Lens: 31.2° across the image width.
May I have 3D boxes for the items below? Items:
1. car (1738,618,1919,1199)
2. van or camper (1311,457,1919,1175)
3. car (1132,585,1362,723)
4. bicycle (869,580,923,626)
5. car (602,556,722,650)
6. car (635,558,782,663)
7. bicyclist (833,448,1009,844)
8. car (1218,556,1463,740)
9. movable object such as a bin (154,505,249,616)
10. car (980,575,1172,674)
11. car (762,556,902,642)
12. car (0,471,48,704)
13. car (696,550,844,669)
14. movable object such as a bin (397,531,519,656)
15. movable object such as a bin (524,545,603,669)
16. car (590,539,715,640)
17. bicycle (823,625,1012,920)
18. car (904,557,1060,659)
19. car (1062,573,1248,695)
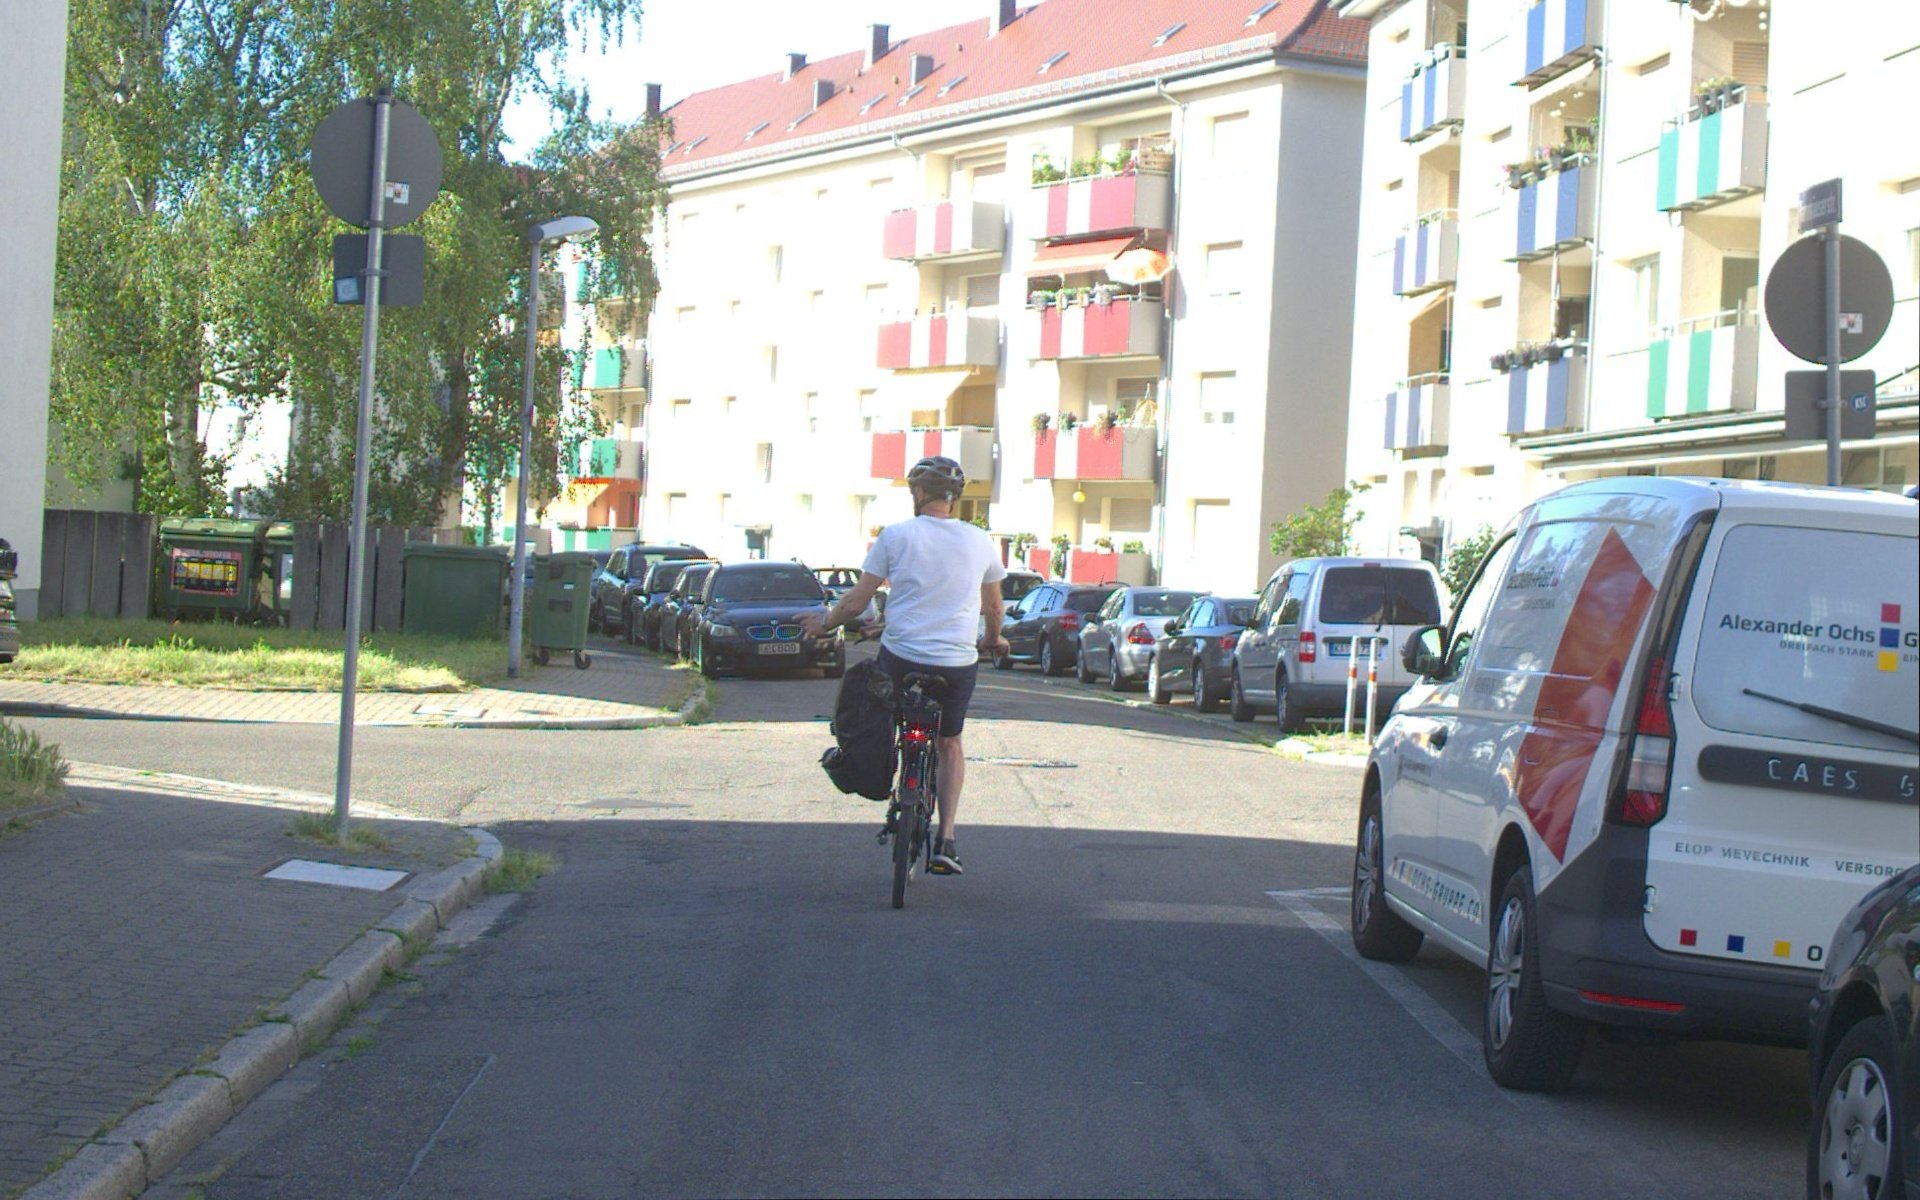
[{"bbox_3d":[2.727,0.863,6.009,1.572,1.412,3.789,6,1,-3],"label":"car"},{"bbox_3d":[2.423,0.570,11.225,1.792,1.741,4.735,7,1,-1],"label":"van or camper"},{"bbox_3d":[3.441,0.616,42.003,1.677,1.402,4.547,4,1,-9],"label":"car"},{"bbox_3d":[-1.546,0.066,82.375,0.617,0.975,1.896,0,3,-23],"label":"bicycle"},{"bbox_3d":[-4.770,0.023,54.597,1.555,1.437,3.969,0,1,-10],"label":"car"},{"bbox_3d":[-3.649,0.118,49.383,1.677,1.437,4.281,0,1,-10],"label":"car"},{"bbox_3d":[-0.152,0.187,14.346,0.596,1.573,0.907,2,0,4],"label":"bicyclist"},{"bbox_3d":[3.965,0.457,36.478,1.746,1.818,4.132,1,1,-6],"label":"car"},{"bbox_3d":[-10.042,-0.529,45.564,1.060,1.430,1.003,1,1,-4],"label":"movable object such as a bin"},{"bbox_3d":[1.752,0.350,53.676,1.693,1.427,4.689,2,0,-15],"label":"car"},{"bbox_3d":[-2.763,-0.044,73.077,1.765,1.630,4.043,1,2,-20],"label":"car"},{"bbox_3d":[-9.086,-0.171,24.835,4.488,1.658,1.719,2,-1,-1],"label":"car"},{"bbox_3d":[-2.516,0.087,44.651,1.677,1.448,4.621,0,1,-6],"label":"car"},{"bbox_3d":[-5.902,-0.081,40.436,1.220,1.375,0.767,4,0,1],"label":"movable object such as a bin"},{"bbox_3d":[-4.622,0.072,40.147,0.775,1.388,1.417,3,0,-3],"label":"movable object such as a bin"},{"bbox_3d":[-5.405,-0.205,60.083,1.555,1.708,4.339,0,1,-13],"label":"car"},{"bbox_3d":[-0.152,0.682,14.332,0.627,1.111,1.816,-1,0,4],"label":"bicycle"},{"bbox_3d":[0.340,0.179,60.805,1.693,1.650,4.391,2,-2,-14],"label":"car"},{"bbox_3d":[2.674,0.438,48.251,1.677,1.442,4.725,4,1,-7],"label":"car"}]
